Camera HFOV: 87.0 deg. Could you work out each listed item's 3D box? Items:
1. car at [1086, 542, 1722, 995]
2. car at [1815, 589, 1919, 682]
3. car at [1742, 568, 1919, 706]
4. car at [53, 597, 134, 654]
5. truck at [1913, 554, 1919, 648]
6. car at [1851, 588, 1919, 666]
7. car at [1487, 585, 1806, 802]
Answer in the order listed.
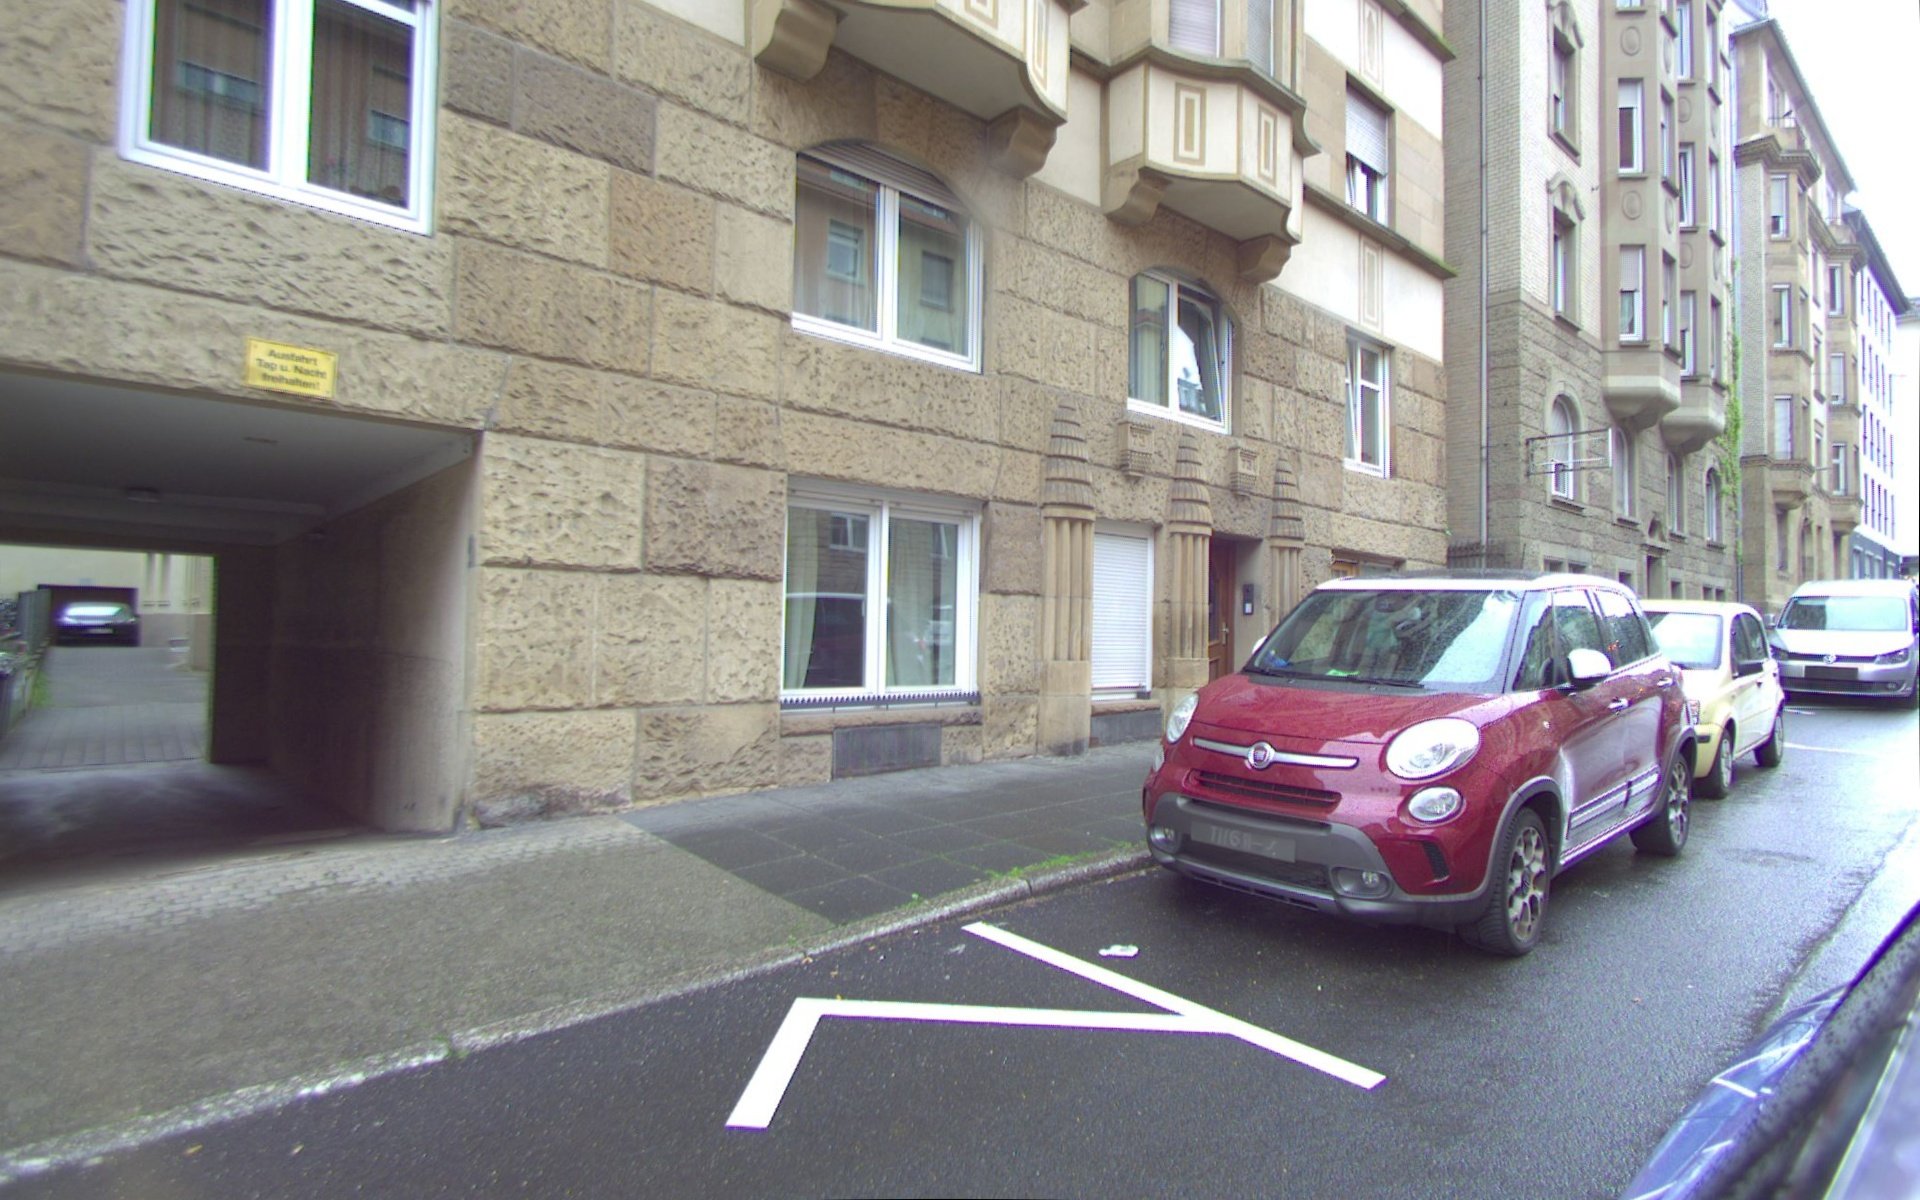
[{"bbox_3d":[2.674,0.605,5.631,3.932,1.619,1.804,0,-1,-42],"label":"car"},{"bbox_3d":[17.166,0.591,18.501,3.934,1.549,1.994,0,-1,-45],"label":"car"},{"bbox_3d":[13.758,0.492,15.510,4.380,1.825,1.966,0,-1,-41],"label":"car"},{"bbox_3d":[-25.190,0.715,29.457,1.692,1.541,4.098,0,-1,-41],"label":"car"},{"bbox_3d":[29.158,0.013,28.879,6.036,2.568,2.234,0,-1,-41],"label":"truck"},{"bbox_3d":[20.472,0.538,21.441,3.860,1.549,1.889,0,-1,-41],"label":"car"},{"bbox_3d":[6.195,0.668,8.992,3.517,1.549,1.578,0,-1,-43],"label":"car"}]
